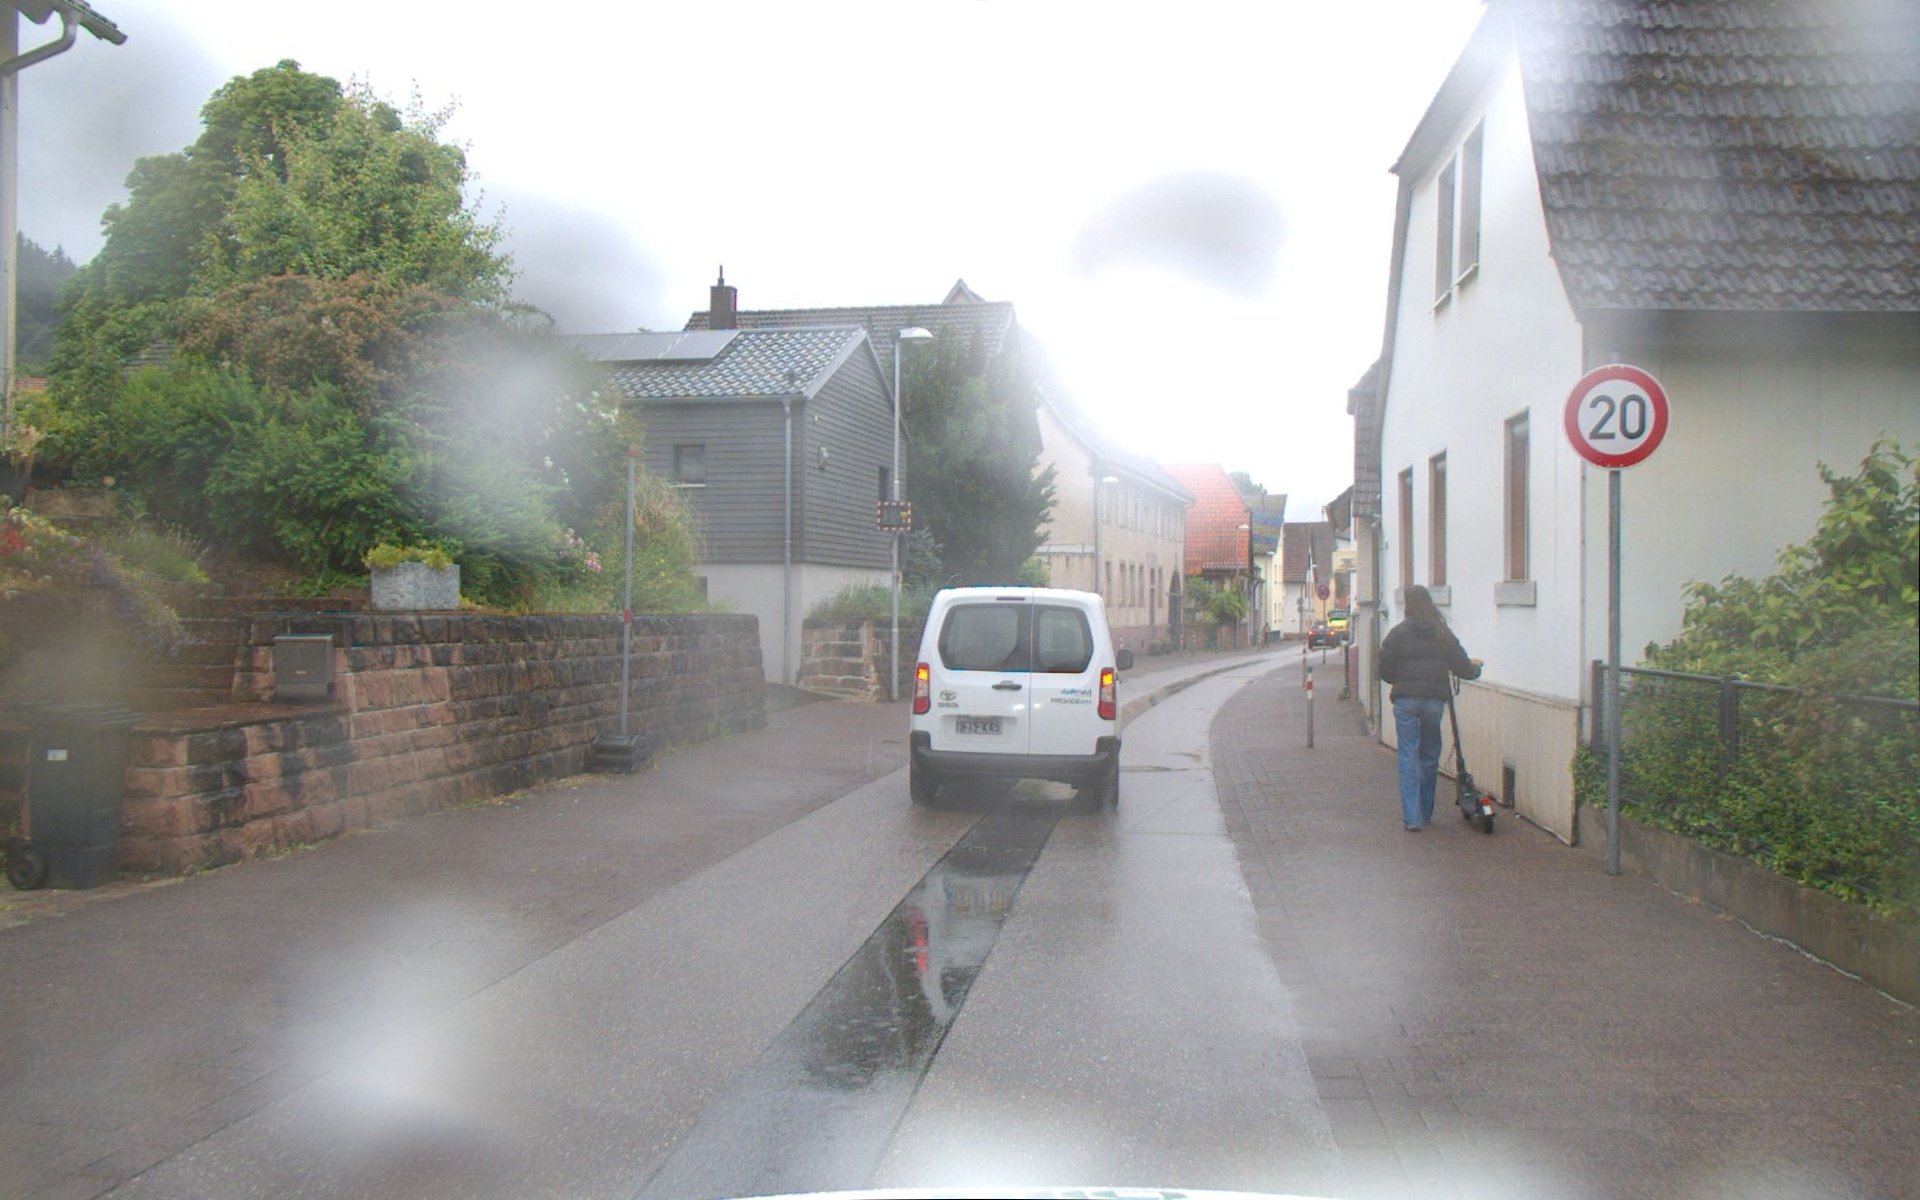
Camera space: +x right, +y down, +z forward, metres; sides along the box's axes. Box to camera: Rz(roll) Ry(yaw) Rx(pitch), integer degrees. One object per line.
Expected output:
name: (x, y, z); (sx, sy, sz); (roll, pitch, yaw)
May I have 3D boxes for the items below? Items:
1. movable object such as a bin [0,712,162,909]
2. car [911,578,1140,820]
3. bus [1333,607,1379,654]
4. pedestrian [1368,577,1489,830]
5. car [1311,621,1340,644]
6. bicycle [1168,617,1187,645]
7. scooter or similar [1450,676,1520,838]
movable object such as a bin: (-4.586, 1.080, 8.629); (0.526, 0.946, 0.545); (1, -1, 5)
car: (0.670, 0.820, 15.185); (1.757, 1.850, 4.103); (2, -1, 4)
bus: (28.797, 2.223, 120.134); (2.734, 3.235, 8.182); (2, -1, 16)
pedestrian: (3.406, 0.724, 12.073); (0.679, 1.762, 0.822); (2, 0, 7)
car: (23.703, 2.107, 107.113); (1.529, 1.395, 3.586); (1, -1, 17)
bicycle: (9.627, 1.361, 73.151); (0.473, 1.201, 1.836); (1, -1, 18)
scooter or similar: (3.774, 1.105, 11.929); (0.240, 1.046, 1.101); (2, 0, 7)
